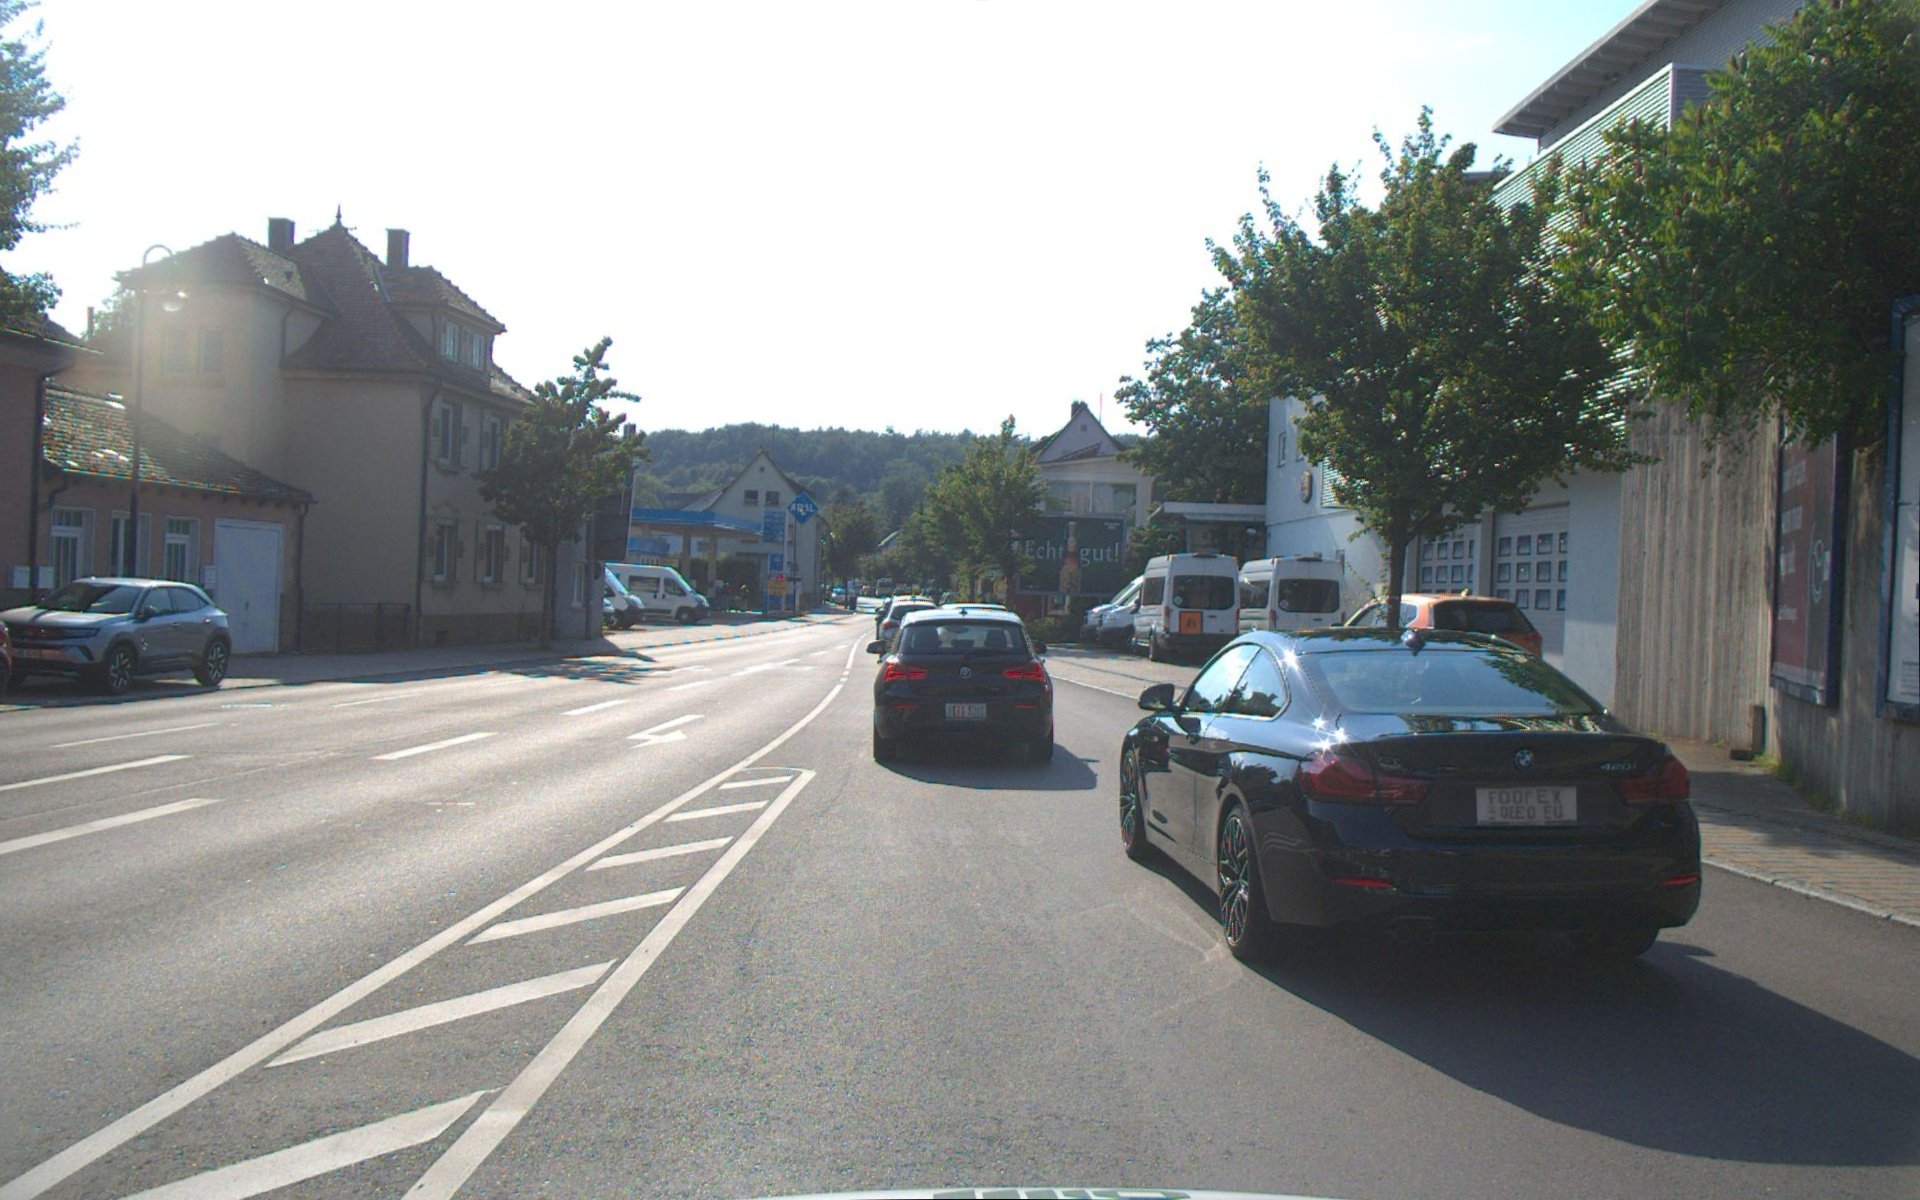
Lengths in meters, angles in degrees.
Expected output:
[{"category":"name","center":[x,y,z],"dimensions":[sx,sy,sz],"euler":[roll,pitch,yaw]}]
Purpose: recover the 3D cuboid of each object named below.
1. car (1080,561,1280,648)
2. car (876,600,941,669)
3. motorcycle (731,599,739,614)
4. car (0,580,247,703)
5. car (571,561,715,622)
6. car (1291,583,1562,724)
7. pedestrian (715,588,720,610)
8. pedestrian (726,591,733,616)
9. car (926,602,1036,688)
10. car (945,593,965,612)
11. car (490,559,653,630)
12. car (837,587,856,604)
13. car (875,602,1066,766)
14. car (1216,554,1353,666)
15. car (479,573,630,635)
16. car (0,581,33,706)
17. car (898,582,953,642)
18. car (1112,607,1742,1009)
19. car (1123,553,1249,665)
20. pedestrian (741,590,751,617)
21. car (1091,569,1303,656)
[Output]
[{"category":"car","center":[6.878,0.145,52.104],"dimensions":[5.924,2.560,2.042],"euler":[1,0,-4]},{"category":"car","center":[-1.324,0.838,42.195],"dimensions":[1.560,1.628,3.892],"euler":[1,0,-2]},{"category":"motorcycle","center":[-14.351,0.400,105.550],"dimensions":[0.356,0.960,1.695],"euler":[1,0,-3]},{"category":"car","center":[-12.136,0.524,23.779],"dimensions":[1.719,1.504,4.002],"euler":[4,1,4]},{"category":"car","center":[-14.293,-0.378,74.877],"dimensions":[6.034,2.487,2.249],"euler":[2,0,-1]},{"category":"car","center":[6.140,0.646,22.364],"dimensions":[1.800,1.678,4.529],"euler":[1,0,-9]},{"category":"pedestrian","center":[-15.264,-0.065,104.292],"dimensions":[0.281,1.390,0.262],"euler":[1,0,-6]},{"category":"pedestrian","center":[-14.794,0.220,105.983],"dimensions":[0.399,1.574,0.432],"euler":[1,0,-5]},{"category":"car","center":[0.332,0.785,30.415],"dimensions":[1.719,1.438,3.419],"euler":[1,0,-4]},{"category":"car","center":[-0.452,0.174,140.727],"dimensions":[1.565,1.511,3.473],"euler":[2,0,-3]},{"category":"car","center":[-15.263,-0.215,65.203],"dimensions":[5.796,2.523,2.194],"euler":[2,1,3]},{"category":"car","center":[-10.513,-0.406,153.332],"dimensions":[1.565,1.511,3.473],"euler":[2,0,-3]},{"category":"car","center":[0.091,0.773,16.958],"dimensions":[1.735,1.482,3.515],"euler":[1,0,0]},{"category":"car","center":[8.600,0.223,44.501],"dimensions":[2.069,2.769,6.439],"euler":[1,0,-3]},{"category":"car","center":[-14.559,0.137,59.551],"dimensions":[4.873,2.034,1.936],"euler":[2,0,1]},{"category":"car","center":[-12.598,0.476,18.694],"dimensions":[1.631,1.513,4.002],"euler":[4,0,5]},{"category":"car","center":[-1.053,0.356,52.048],"dimensions":[1.570,1.798,3.411],"euler":[1,0,1]},{"category":"car","center":[1.922,0.771,8.191],"dimensions":[1.666,1.393,4.259],"euler":[1,1,-4]},{"category":"car","center":[5.920,0.183,44.161],"dimensions":[2.106,2.727,6.600],"euler":[1,0,-3]},{"category":"pedestrian","center":[-13.726,0.205,105.912],"dimensions":[0.598,1.699,0.442],"euler":[1,0,-5]},{"category":"car","center":[6.990,0.360,49.206],"dimensions":[5.924,2.404,2.042],"euler":[1,0,-4]}]
